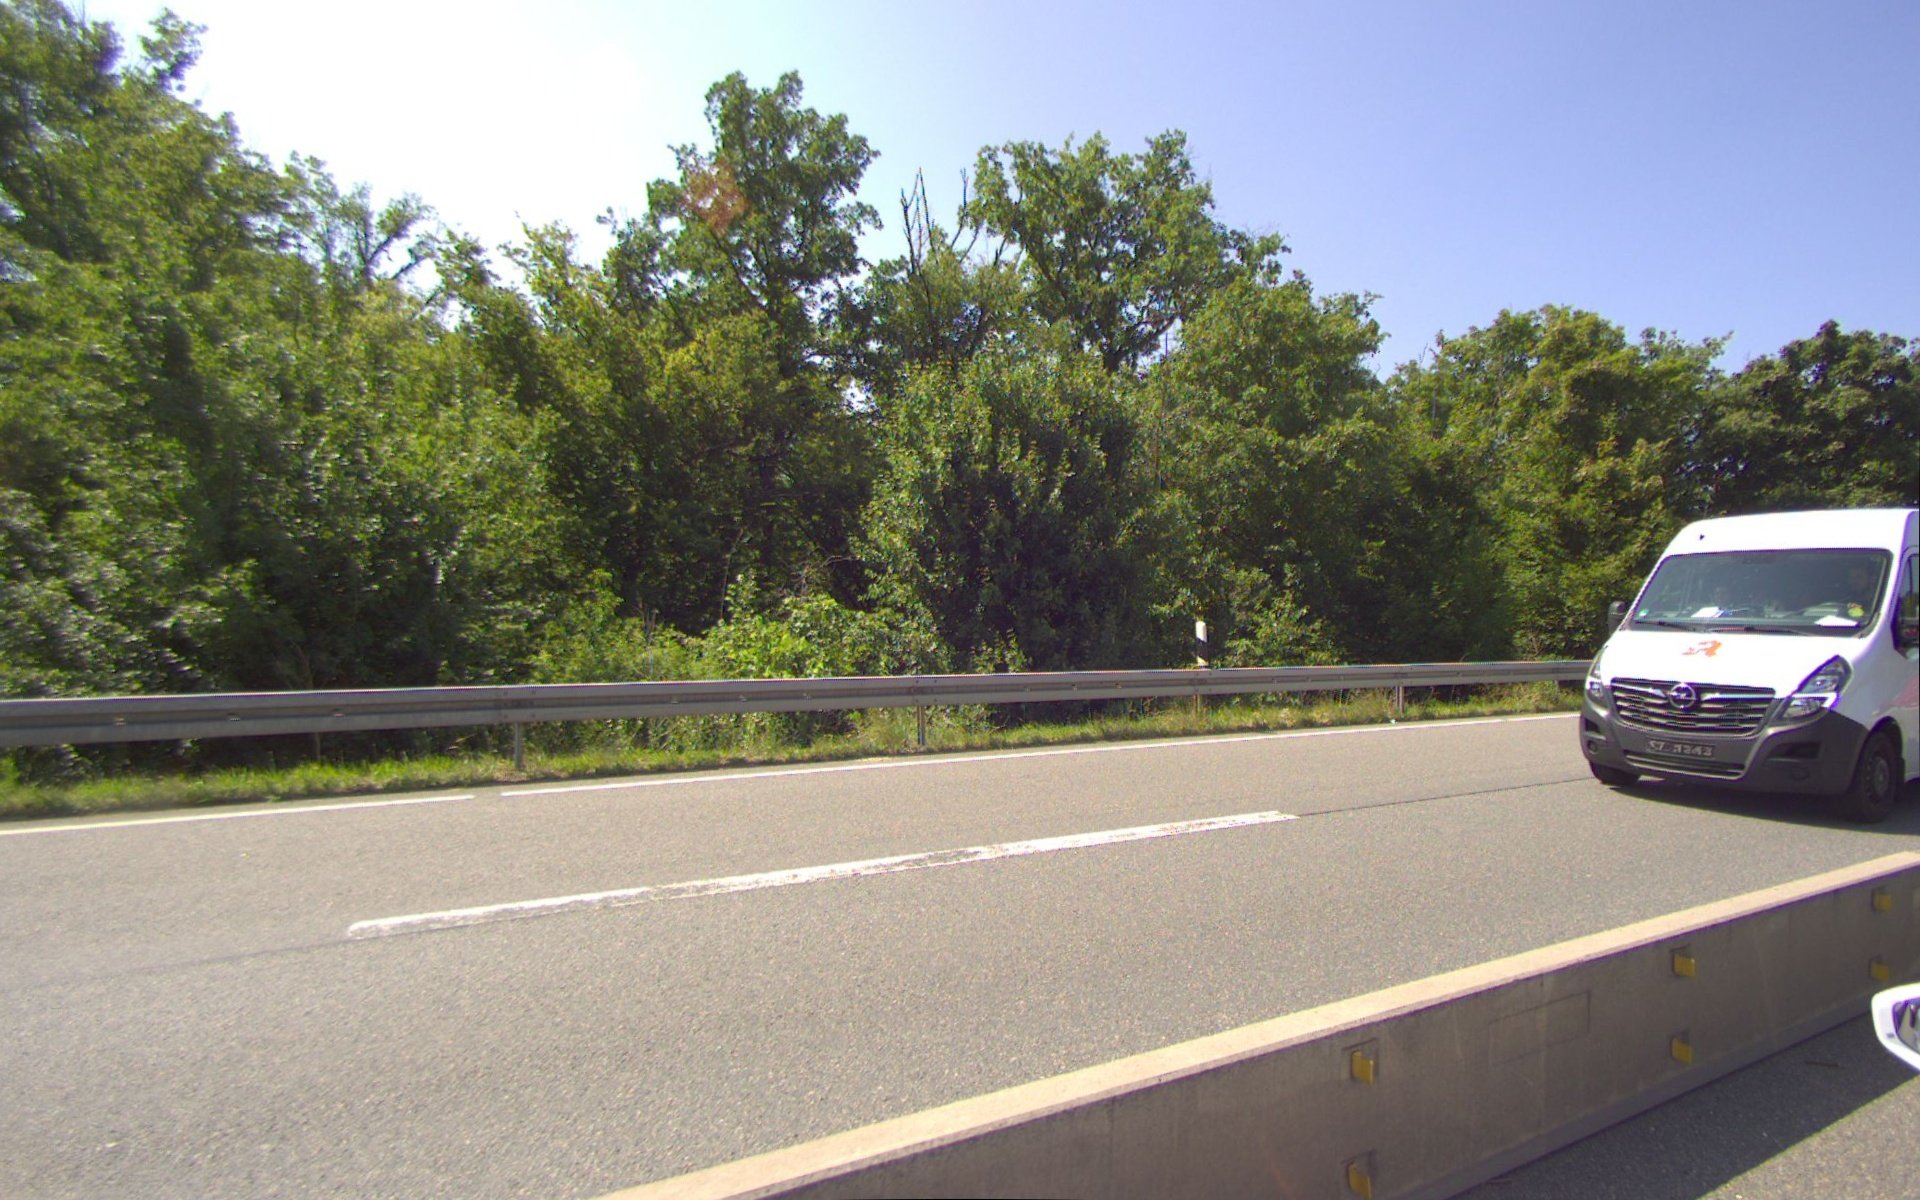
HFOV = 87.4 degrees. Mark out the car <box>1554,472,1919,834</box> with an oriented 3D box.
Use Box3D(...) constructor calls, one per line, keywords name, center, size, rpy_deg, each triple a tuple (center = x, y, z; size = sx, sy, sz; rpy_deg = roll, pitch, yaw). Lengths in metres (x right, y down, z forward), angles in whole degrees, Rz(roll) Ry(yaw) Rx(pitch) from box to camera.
Box3D(name="car", center=(8.080, 0.415, 9.274), size=(5.495, 2.518, 2.052), rpy_deg=(1, 0, -30))
